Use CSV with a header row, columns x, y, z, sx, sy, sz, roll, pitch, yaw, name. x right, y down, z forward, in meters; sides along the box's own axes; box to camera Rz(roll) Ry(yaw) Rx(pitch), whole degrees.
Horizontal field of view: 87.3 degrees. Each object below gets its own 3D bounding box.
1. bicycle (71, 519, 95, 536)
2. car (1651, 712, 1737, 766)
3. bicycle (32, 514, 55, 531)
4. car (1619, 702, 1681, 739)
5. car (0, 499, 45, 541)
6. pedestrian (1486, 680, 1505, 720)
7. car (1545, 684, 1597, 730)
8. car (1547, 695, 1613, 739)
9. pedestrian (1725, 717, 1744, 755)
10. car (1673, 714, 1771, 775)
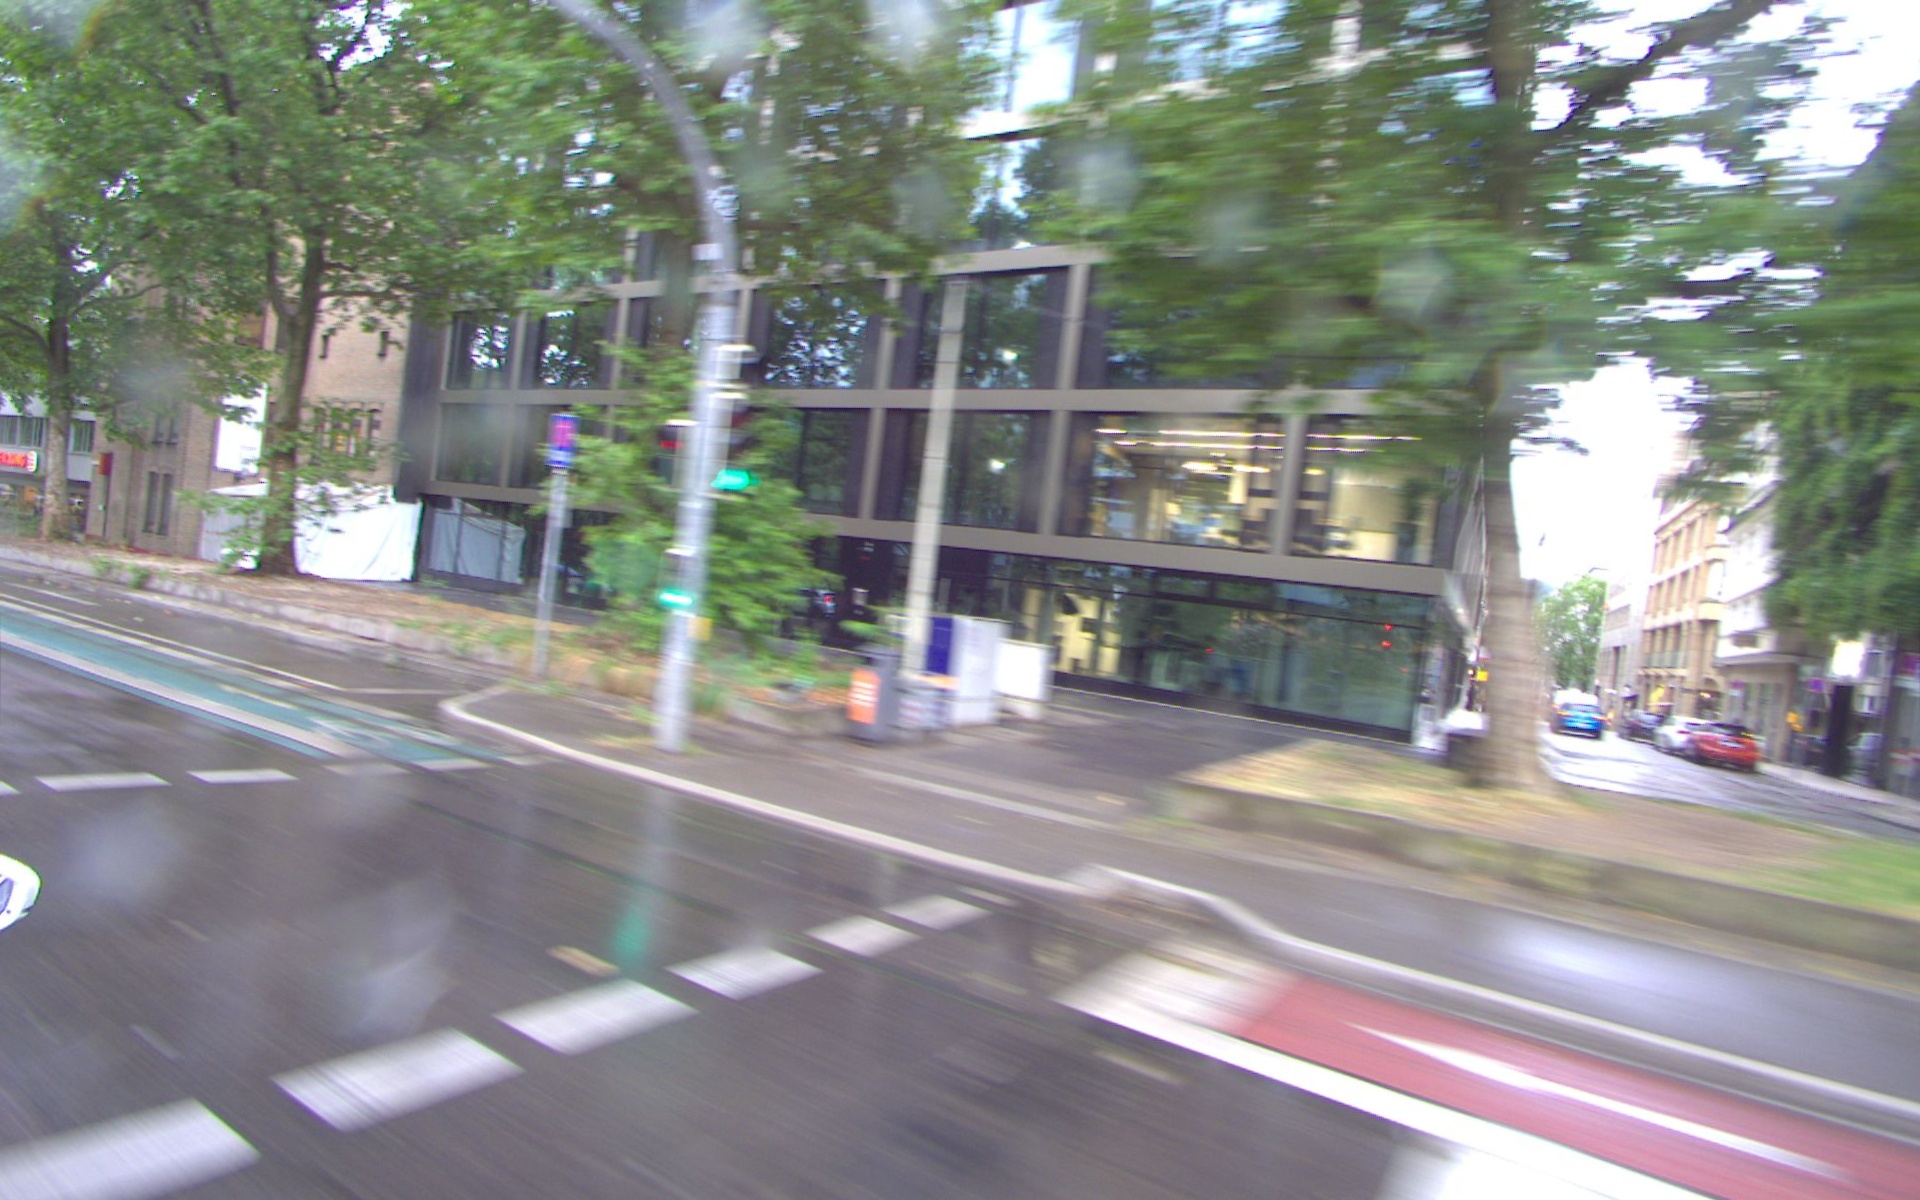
x,y,z,sx,sy,sz,roll,pitch,yaw,name
-51.512,-4.274,59.072,1.993,0.846,0.449,6,-2,32,bicycle
26.800,5.030,36.847,1.754,1.607,3.801,6,-3,26,car
-56.317,-4.770,61.811,1.993,0.846,0.449,6,-2,32,bicycle
32.049,5.609,46.830,1.814,1.402,3.998,6,-3,28,car
-29.058,-2.525,29.546,2.861,1.086,1.446,9,-3,-28,car
22.103,4.117,41.496,0.537,1.579,0.503,6,-1,28,pedestrian
30.691,5.379,50.604,1.893,1.968,4.960,6,-3,30,car
26.013,4.881,42.307,1.769,1.453,4.060,6,-1,25,car
31.447,5.529,40.838,0.413,1.473,0.427,6,-1,29,pedestrian
24.791,4.660,32.884,1.814,1.607,3.998,6,-3,28,car
